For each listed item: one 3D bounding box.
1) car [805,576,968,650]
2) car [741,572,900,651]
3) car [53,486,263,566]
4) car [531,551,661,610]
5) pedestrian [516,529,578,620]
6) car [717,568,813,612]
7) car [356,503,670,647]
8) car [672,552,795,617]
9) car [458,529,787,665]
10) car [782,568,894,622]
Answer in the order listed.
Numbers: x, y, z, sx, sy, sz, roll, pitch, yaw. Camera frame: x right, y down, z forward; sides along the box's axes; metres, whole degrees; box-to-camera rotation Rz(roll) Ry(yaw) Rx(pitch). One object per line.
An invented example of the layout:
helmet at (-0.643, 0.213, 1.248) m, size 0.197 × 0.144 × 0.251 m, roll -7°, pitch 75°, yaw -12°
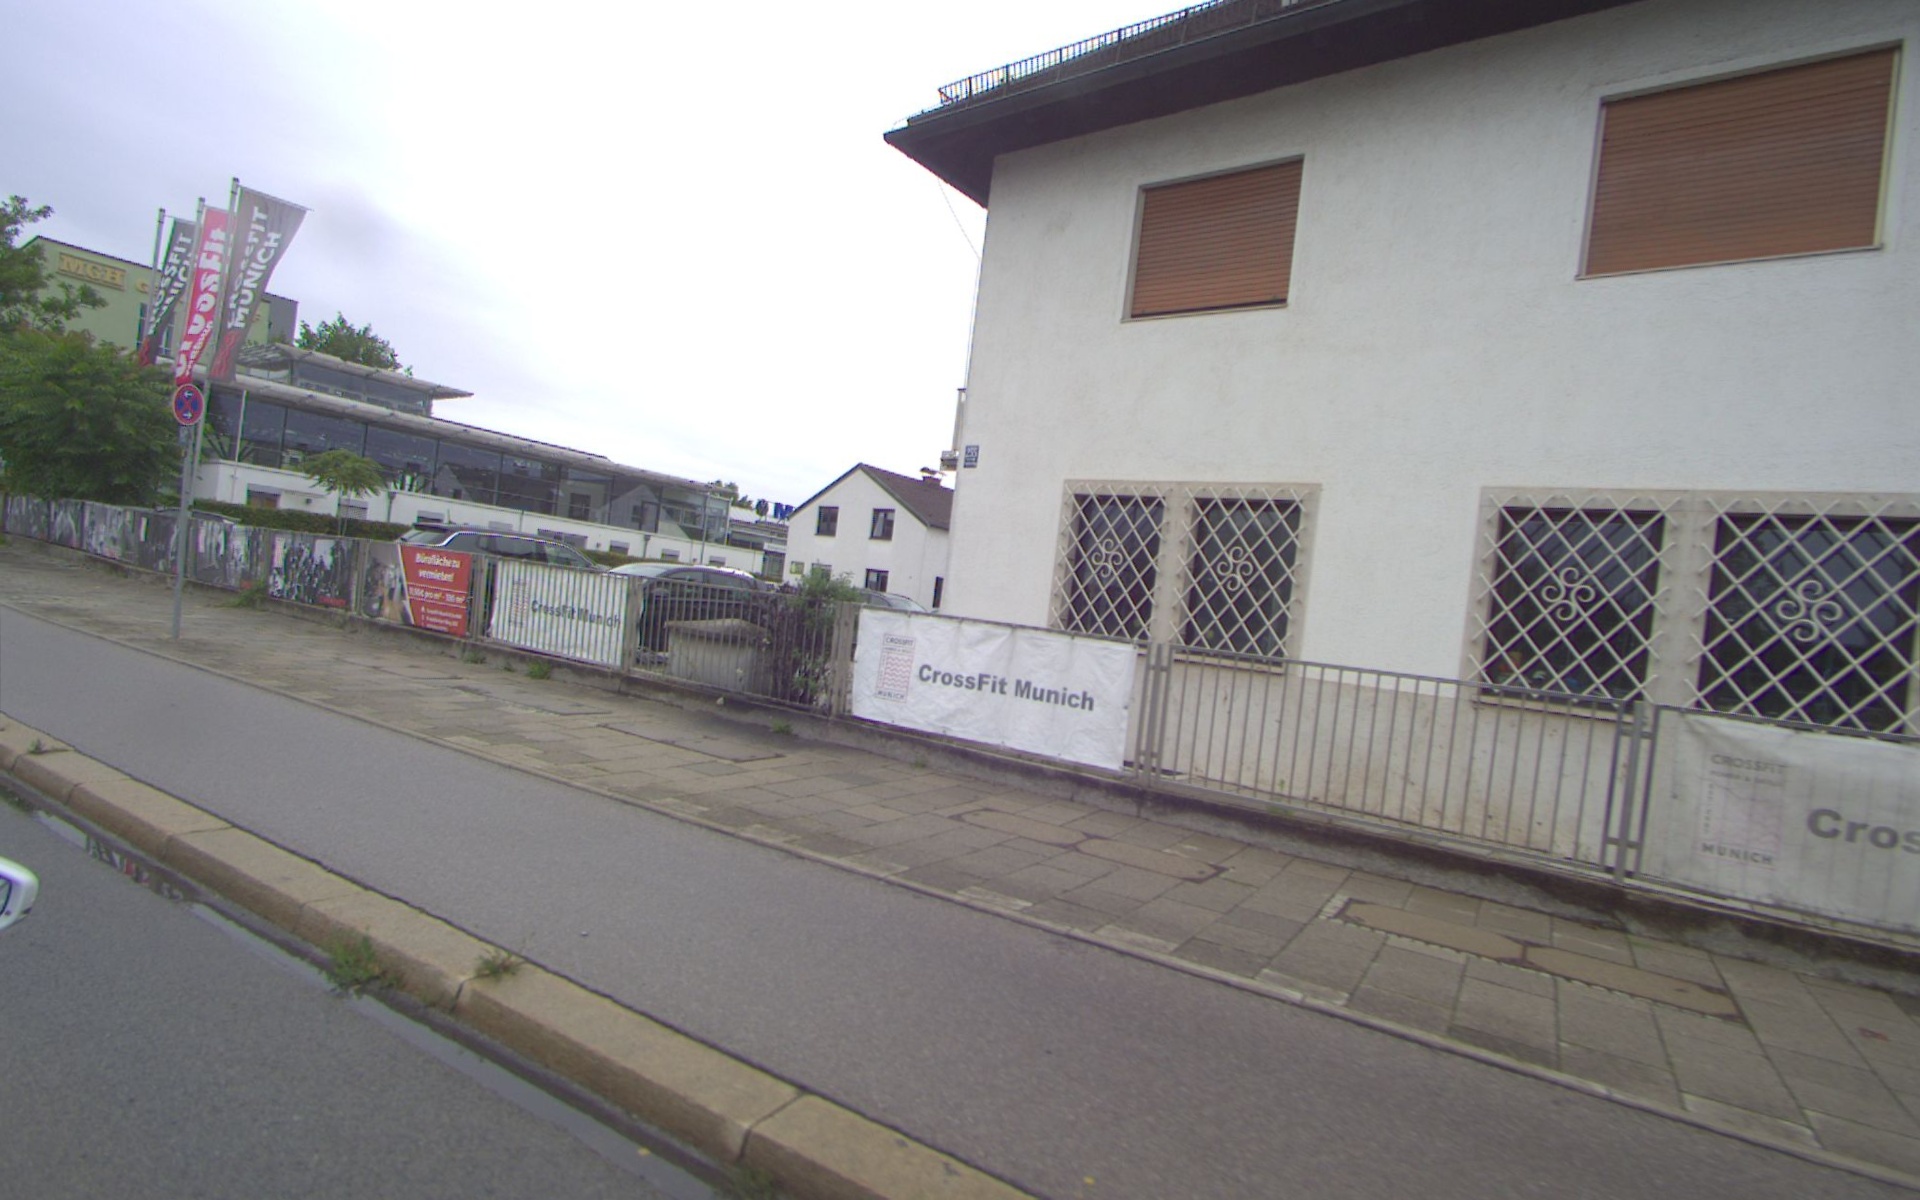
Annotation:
car at (-2.154, 0.342, 28.624) m, size 4.475 × 1.530 × 1.918 m, roll 7°, pitch 0°, yaw 41°
car at (-3.686, 0.270, 26.084) m, size 1.916 × 1.512 × 4.057 m, roll 7°, pitch 0°, yaw -45°
car at (-21.221, -1.930, 26.751) m, size 1.766 × 1.478 × 4.012 m, roll 7°, pitch 0°, yaw 38°
car at (-12.164, -0.676, 33.475) m, size 4.551 × 1.404 × 1.919 m, roll 7°, pitch 0°, yaw 39°
pedestrian at (-9.370, -0.580, 22.816) m, size 0.917 × 1.925 × 0.733 m, roll 7°, pitch 1°, yaw 34°
car at (-8.986, -0.452, 46.233) m, size 4.159 × 1.513 × 1.920 m, roll 7°, pitch 0°, yaw 37°
car at (-7.020, -0.324, 16.176) m, size 1.897 × 1.747 × 4.096 m, roll 7°, pitch 0°, yaw 36°
car at (-8.556, -0.607, 37.855) m, size 4.619 × 1.927 × 1.919 m, roll 7°, pitch 1°, yaw 39°
car at (-4.734, 0.028, 14.648) m, size 1.897 × 1.468 × 4.096 m, roll 7°, pitch 0°, yaw 36°
car at (-5.177, -0.231, 42.452) m, size 4.619 × 1.689 × 1.919 m, roll 7°, pitch 1°, yaw 39°
